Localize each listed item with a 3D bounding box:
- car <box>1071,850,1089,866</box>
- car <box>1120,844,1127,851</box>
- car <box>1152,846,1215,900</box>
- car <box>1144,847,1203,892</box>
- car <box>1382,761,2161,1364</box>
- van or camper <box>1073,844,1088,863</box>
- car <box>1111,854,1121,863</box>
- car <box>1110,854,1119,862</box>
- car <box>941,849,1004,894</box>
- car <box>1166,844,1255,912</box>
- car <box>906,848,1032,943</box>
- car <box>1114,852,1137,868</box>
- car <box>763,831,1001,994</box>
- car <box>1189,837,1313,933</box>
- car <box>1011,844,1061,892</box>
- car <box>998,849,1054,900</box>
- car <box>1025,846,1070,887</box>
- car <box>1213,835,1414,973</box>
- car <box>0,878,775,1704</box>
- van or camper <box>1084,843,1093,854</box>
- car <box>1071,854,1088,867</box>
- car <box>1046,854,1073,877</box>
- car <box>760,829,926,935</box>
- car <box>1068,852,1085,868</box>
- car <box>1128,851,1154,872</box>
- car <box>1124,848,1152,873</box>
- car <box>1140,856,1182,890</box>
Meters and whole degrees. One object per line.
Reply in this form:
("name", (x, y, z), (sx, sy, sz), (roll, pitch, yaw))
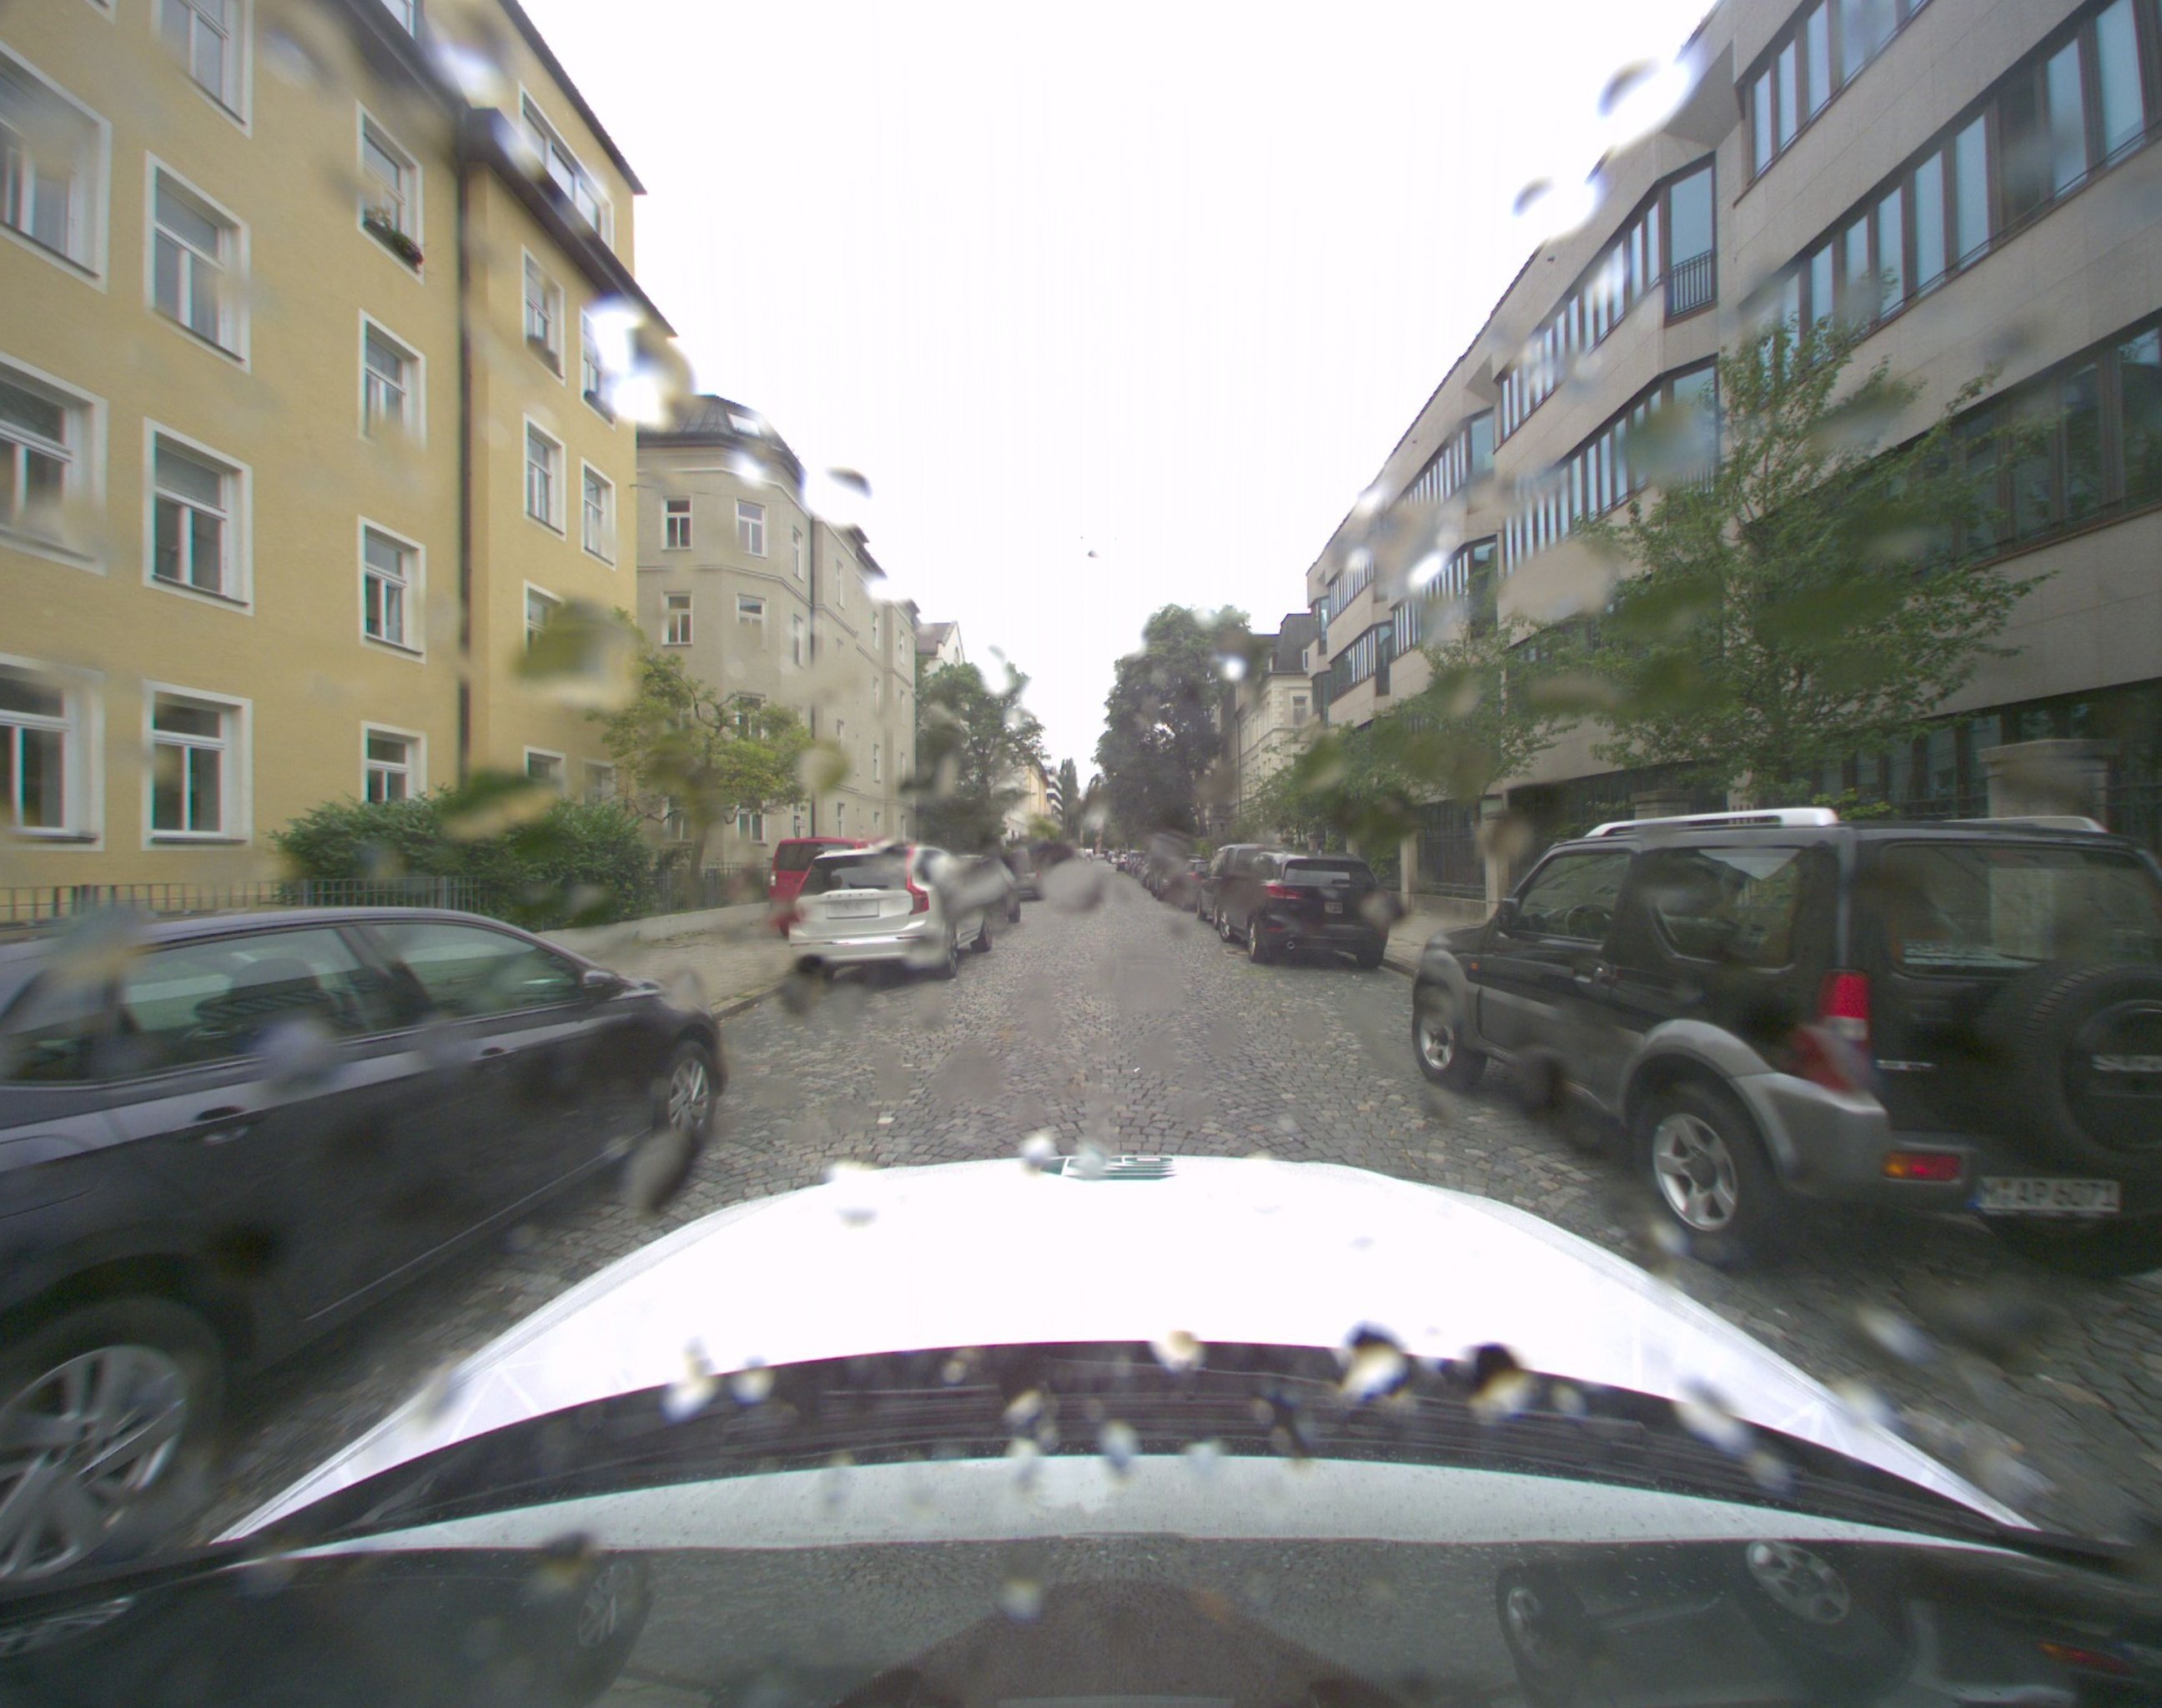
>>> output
("car", (-0.114, 0.433, 87.618), (1.868, 1.580, 4.254), (-4, 0, -1))
("car", (12.805, -1.991, 244.571), (1.986, 2.014, 4.002), (-1, -1, 2))
("car", (3.568, 0.641, 29.172), (1.865, 1.735, 4.895), (1, 0, 3))
("car", (3.921, 0.625, 35.120), (1.868, 1.735, 4.745), (2, 0, -1))
("car", (3.151, 0.628, 4.351), (1.613, 1.751, 3.887), (2, 0, 0))
("van or camper", (-0.086, -0.138, 120.637), (1.986, 2.652, 4.002), (-4, 0, 2))
("car", (6.054, 0.805, 141.542), (1.783, 1.520, 4.002), (-1, 0, 2))
("car", (6.609, 0.807, 162.167), (1.783, 1.520, 4.002), (-1, 0, 2))
("car", (-4.469, 0.687, 34.222), (1.938, 1.735, 4.657), (2, 0, 0))
("car", (3.719, 0.648, 24.200), (1.867, 1.735, 4.659), (3, 0, 0))
("car", (-2.380, 0.828, 18.635), (1.910, 1.735, 4.757), (-5, 0, 2))
("car", (4.355, 0.547, 79.877), (1.867, 1.503, 4.509), (2, 0, -1))
("car", (-2.573, 0.690, 12.071), (1.998, 1.809, 5.177), (-3, 0, 2))
("car", (3.640, 0.605, 18.273), (1.782, 1.796, 4.509), (3, 0, 0))
("car", (-1.942, 0.594, 36.540), (1.867, 1.917, 4.827), (-3, 0, 0))
("car", (-2.055, 0.734, 31.686), (1.860, 1.735, 4.401), (-3, 0, -1))
("car", (-1.721, 0.635, 43.092), (1.986, 1.917, 5.177), (-4, 0, 0))
("car", (3.364, 0.639, 12.834), (1.854, 1.702, 4.814), (2, 0, 1))
("car", (-2.849, 0.904, 3.118), (1.723, 1.418, 3.937), (-3, 0, 1))
("van or camper", (1.948, -1.279, 205.213), (2.248, 2.742, 5.099), (0, 0, 1))
("car", (-0.201, 0.854, 105.678), (1.864, 1.580, 4.213), (1, 0, 5))
("car", (-1.429, 0.746, 53.849), (1.658, 1.444, 4.168), (-2, 0, -2))
("car", (-4.896, 0.520, 17.671), (1.987, 1.931, 5.330), (1, 0, 0))
("car", (-0.551, 0.708, 100.195), (1.867, 1.776, 4.122), (-4, 0, 0))
("car", (4.527, 0.538, 62.236), (1.830, 1.490, 4.424), (2, 0, 2))
("car", (4.696, 0.493, 67.838), (1.867, 1.928, 5.162), (2, 0, -1))
("car", (3.898, 0.872, 40.255), (1.865, 1.490, 4.621), (1, 0, 3))
